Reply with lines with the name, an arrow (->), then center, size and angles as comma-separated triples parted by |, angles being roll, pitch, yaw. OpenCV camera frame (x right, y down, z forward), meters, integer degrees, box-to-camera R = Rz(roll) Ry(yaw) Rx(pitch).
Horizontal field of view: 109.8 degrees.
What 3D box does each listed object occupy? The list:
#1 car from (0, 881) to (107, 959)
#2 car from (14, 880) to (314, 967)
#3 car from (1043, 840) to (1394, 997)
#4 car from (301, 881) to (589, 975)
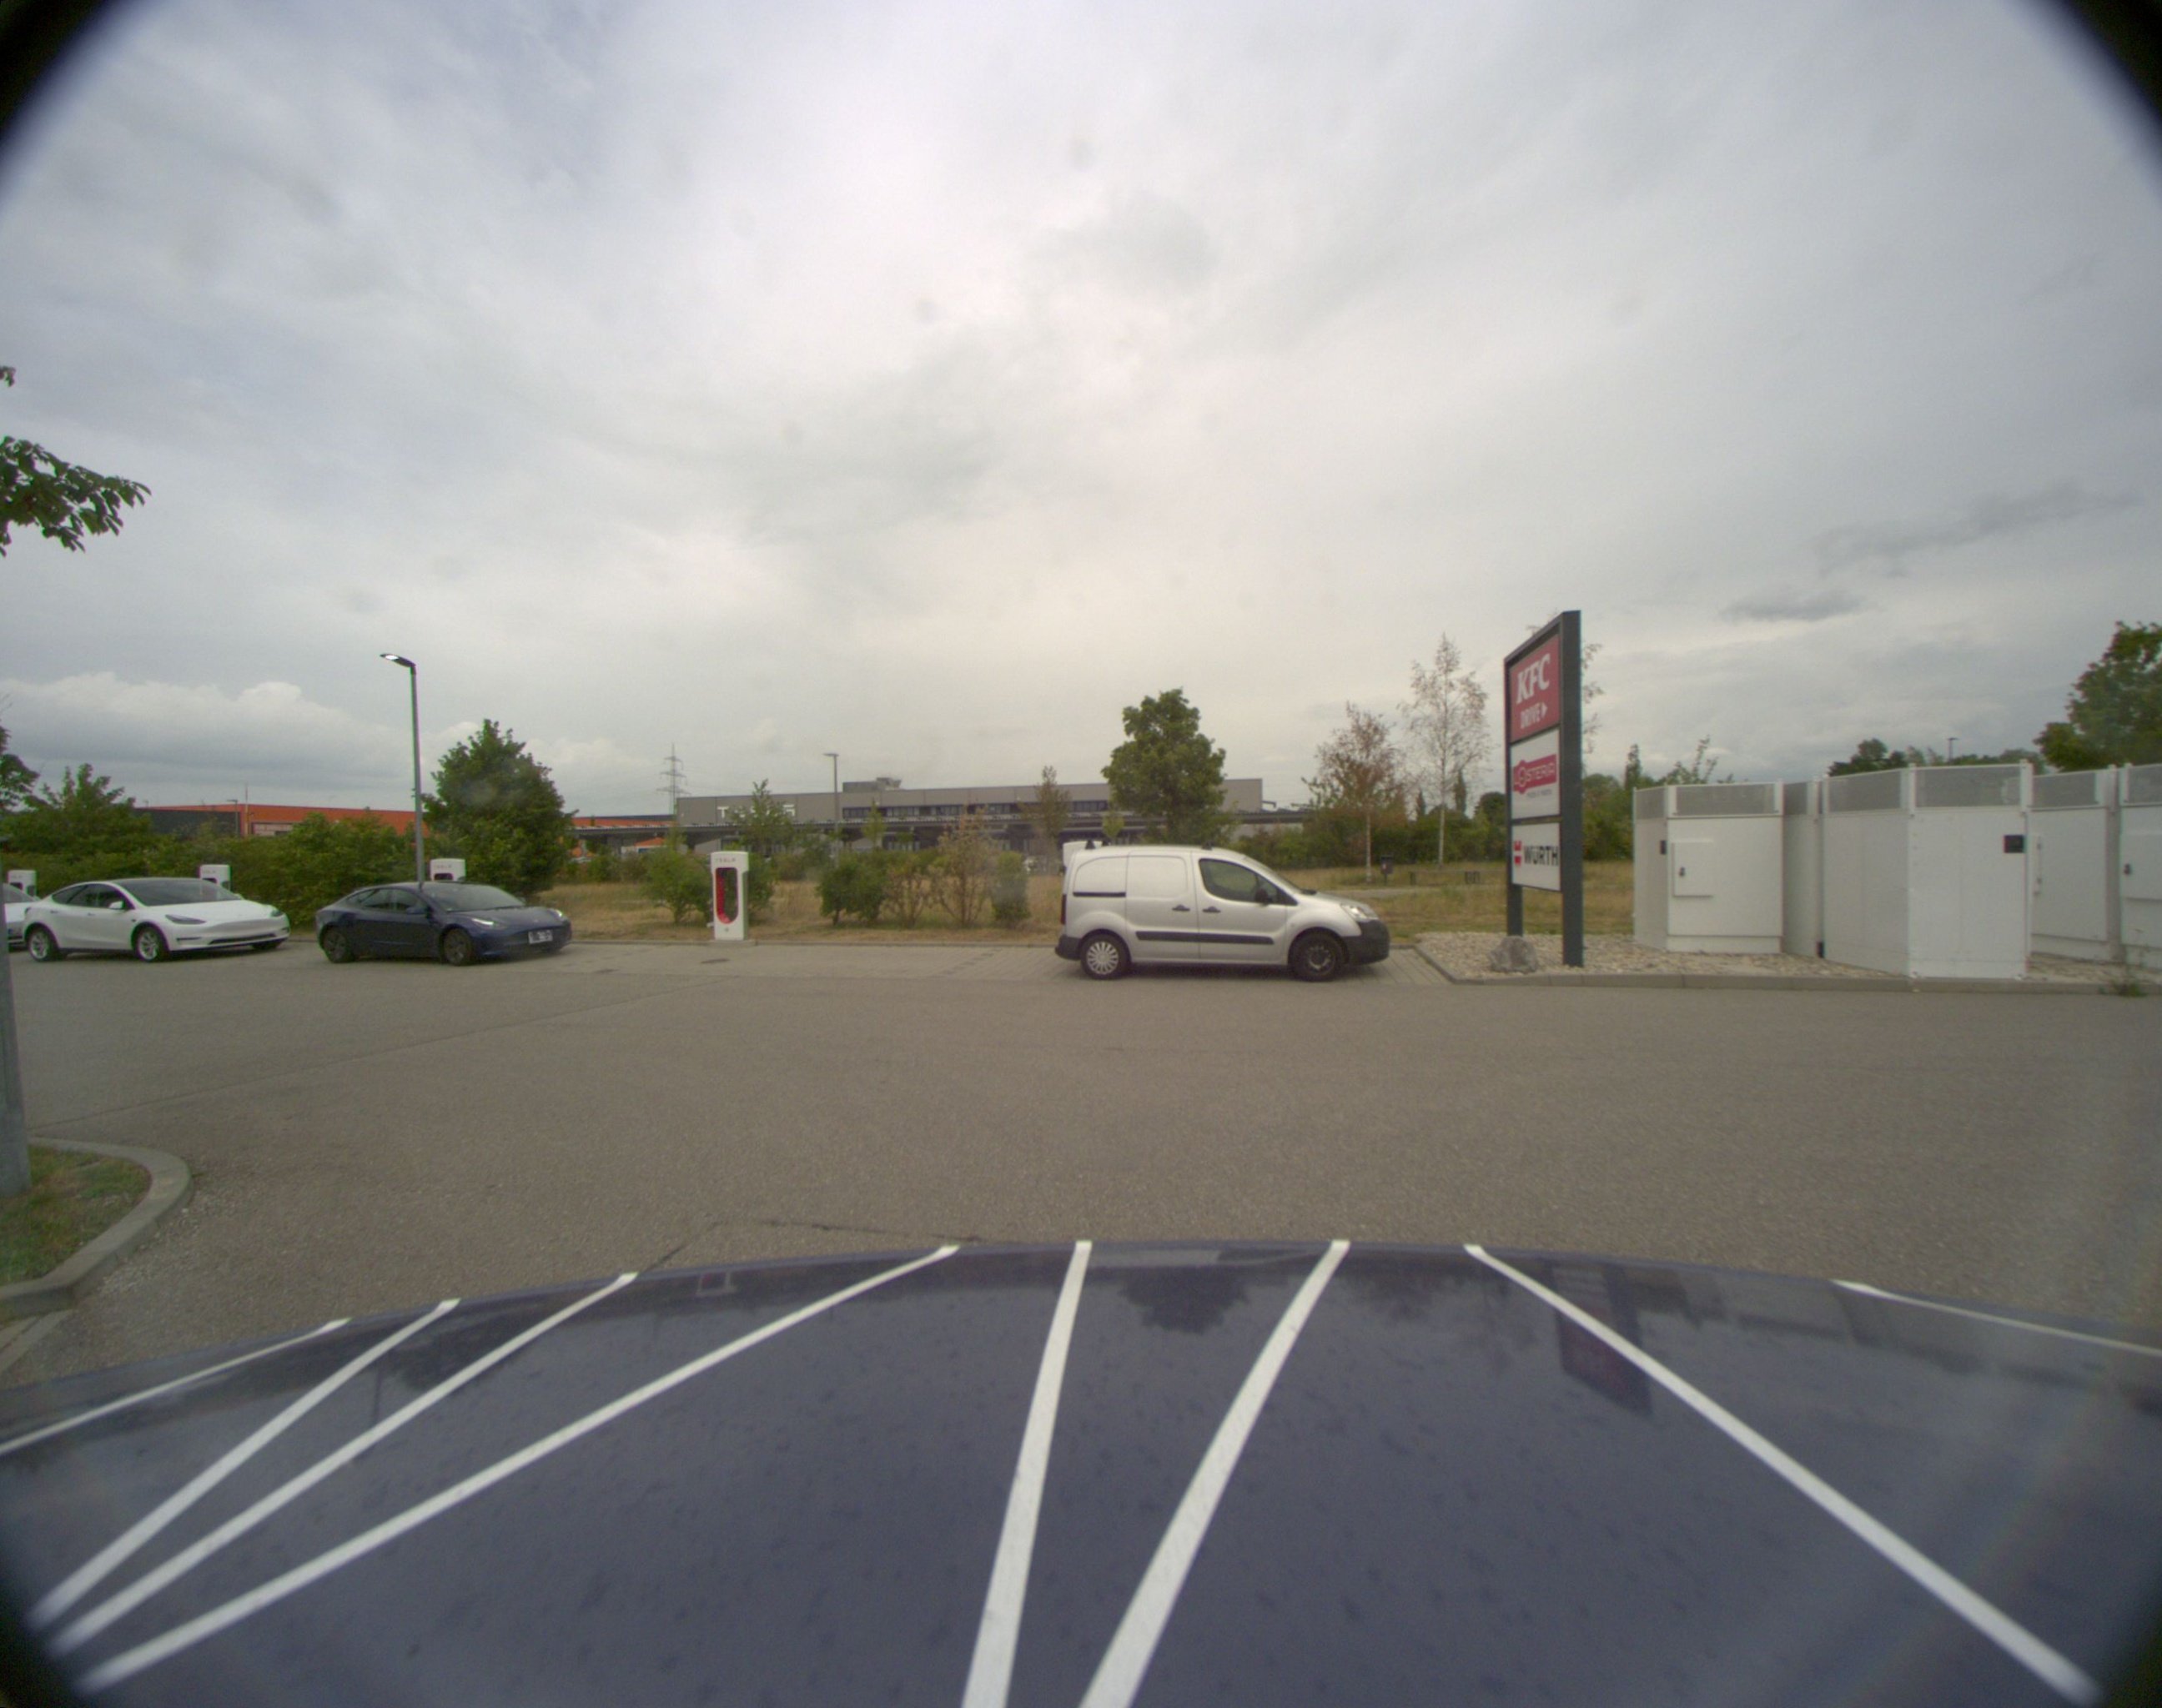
car -> -25.791, 1.487, 17.623 | 4.935, 1.593, 2.075 | 0, 1, 14
car -> -18.951, 1.398, 15.792 | 4.470, 1.544, 2.075 | -1, 1, 12
car -> 1.842, 0.802, 10.508 | 4.329, 1.877, 1.948 | -1, 0, 13
car -> -11.695, 1.283, 14.042 | 4.448, 1.451, 1.836 | -1, 1, 15
